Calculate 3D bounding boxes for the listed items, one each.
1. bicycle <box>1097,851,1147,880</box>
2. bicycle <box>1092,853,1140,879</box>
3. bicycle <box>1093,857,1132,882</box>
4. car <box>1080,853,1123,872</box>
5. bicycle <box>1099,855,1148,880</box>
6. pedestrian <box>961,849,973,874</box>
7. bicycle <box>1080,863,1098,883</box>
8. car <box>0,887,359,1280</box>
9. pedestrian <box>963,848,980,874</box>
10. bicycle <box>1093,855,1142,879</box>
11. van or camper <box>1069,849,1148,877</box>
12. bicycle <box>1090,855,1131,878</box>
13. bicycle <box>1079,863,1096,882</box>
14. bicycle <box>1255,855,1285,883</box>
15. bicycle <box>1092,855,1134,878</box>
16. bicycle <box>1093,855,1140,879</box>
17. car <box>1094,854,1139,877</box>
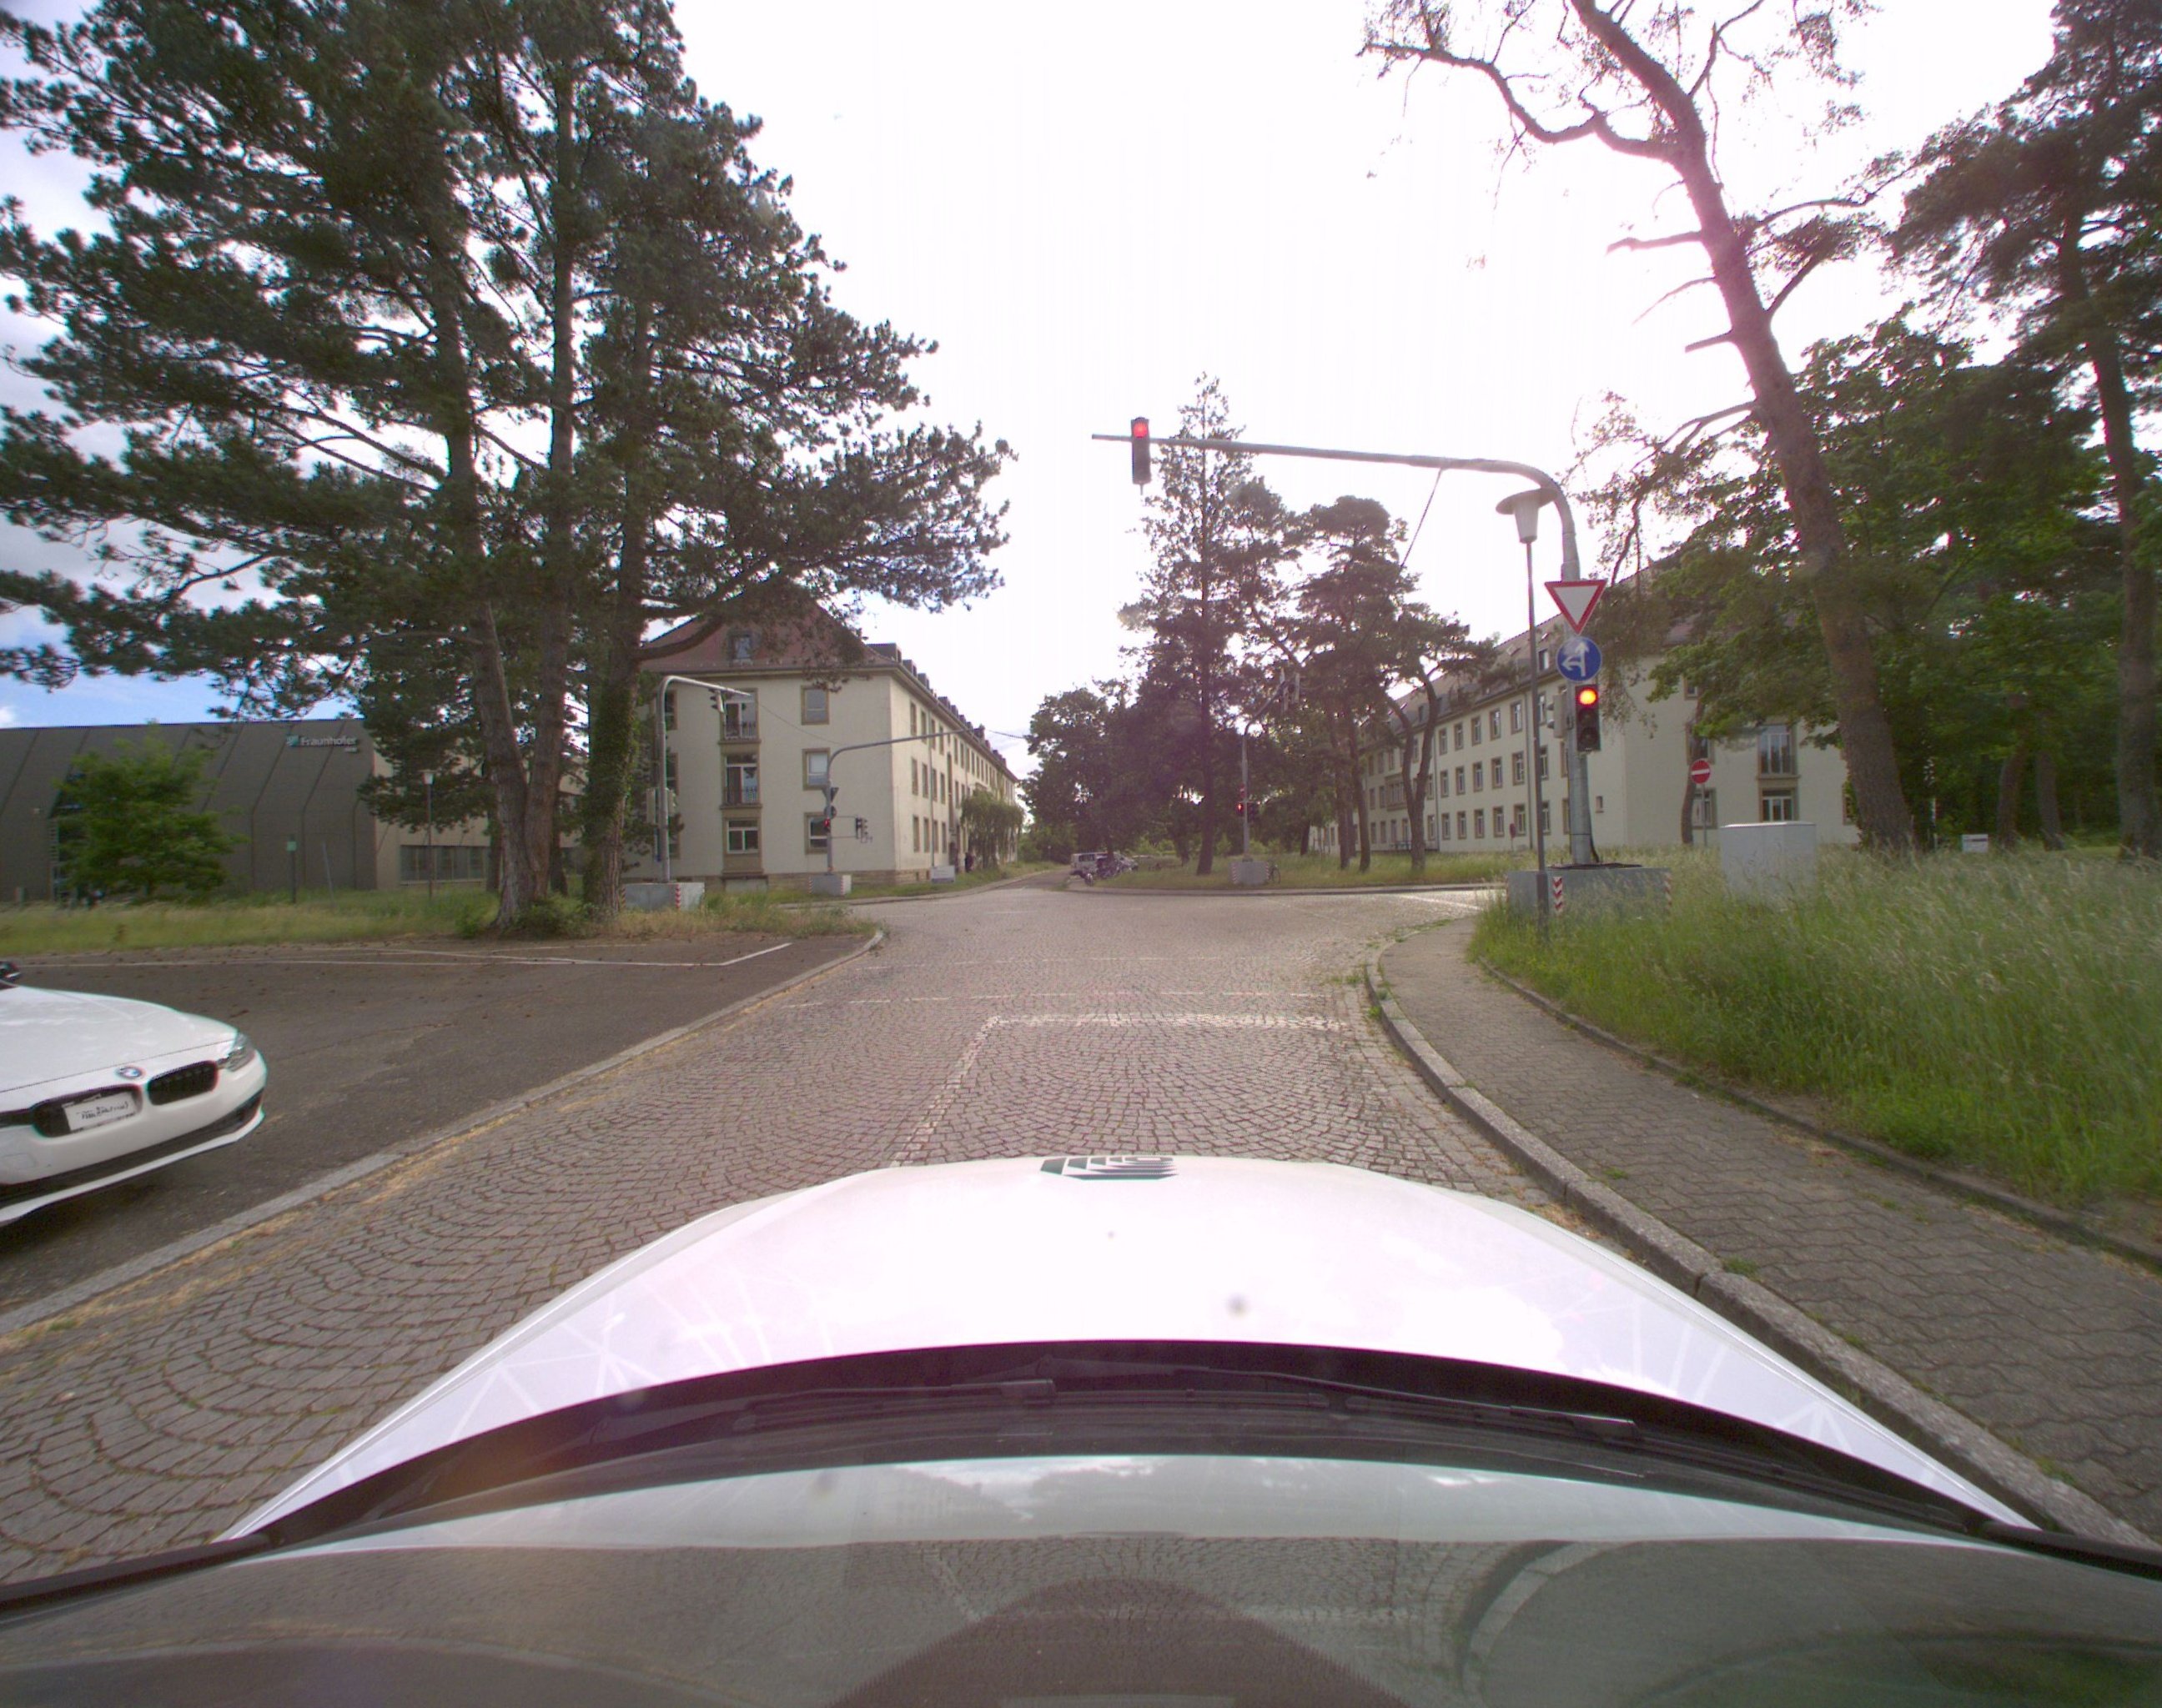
[{"bbox_3d":[2.318,0.655,46.860,2.793,1.583,0.950,-2,-1,0],"label":"bicycle"},{"bbox_3d":[1.959,0.677,45.992,2.610,1.367,0.874,-2,-1,0],"label":"bicycle"},{"bbox_3d":[1.764,0.848,45.380,2.106,1.306,0.874,-2,-1,0],"label":"bicycle"},{"bbox_3d":[1.908,0.789,77.330,3.976,1.600,1.702,-2,0,-2],"label":"car"},{"bbox_3d":[2.465,0.759,47.789,2.793,1.372,0.950,-2,-1,0],"label":"bicycle"},{"bbox_3d":[-8.581,0.568,61.500,0.865,1.932,0.834,0,-1,-11],"label":"pedestrian"},{"bbox_3d":[0.405,0.975,42.008,0.897,0.996,1.978,-2,0,0],"label":"bicycle"},{"bbox_3d":[-6.569,0.896,3.672,4.792,1.439,1.912,1,0,-2],"label":"car"},{"bbox_3d":[-8.183,0.510,60.741,1.194,1.870,1.545,0,-1,-9],"label":"pedestrian"},{"bbox_3d":[2.148,0.768,48.325,2.793,1.372,0.950,-2,-1,0],"label":"bicycle"},{"bbox_3d":[2.130,0.690,63.531,5.745,1.957,2.229,-2,0,-12],"label":"van or camper"},{"bbox_3d":[1.853,0.782,51.862,2.560,1.372,0.950,-2,-1,-1],"label":"bicycle"},{"bbox_3d":[0.365,1.000,44.101,0.724,0.996,1.982,-2,0,5],"label":"bicycle"},{"bbox_3d":[7.716,0.593,33.249,0.643,1.062,1.832,-5,0,-2],"label":"bicycle"},{"bbox_3d":[2.003,0.772,51.023,2.560,1.372,0.950,-2,-1,-1],"label":"bicycle"},{"bbox_3d":[2.133,0.778,49.219,2.793,1.372,0.950,-2,-1,0],"label":"bicycle"},{"bbox_3d":[2.606,0.827,59.985,3.214,1.621,1.937,-1,-1,-1],"label":"car"}]
